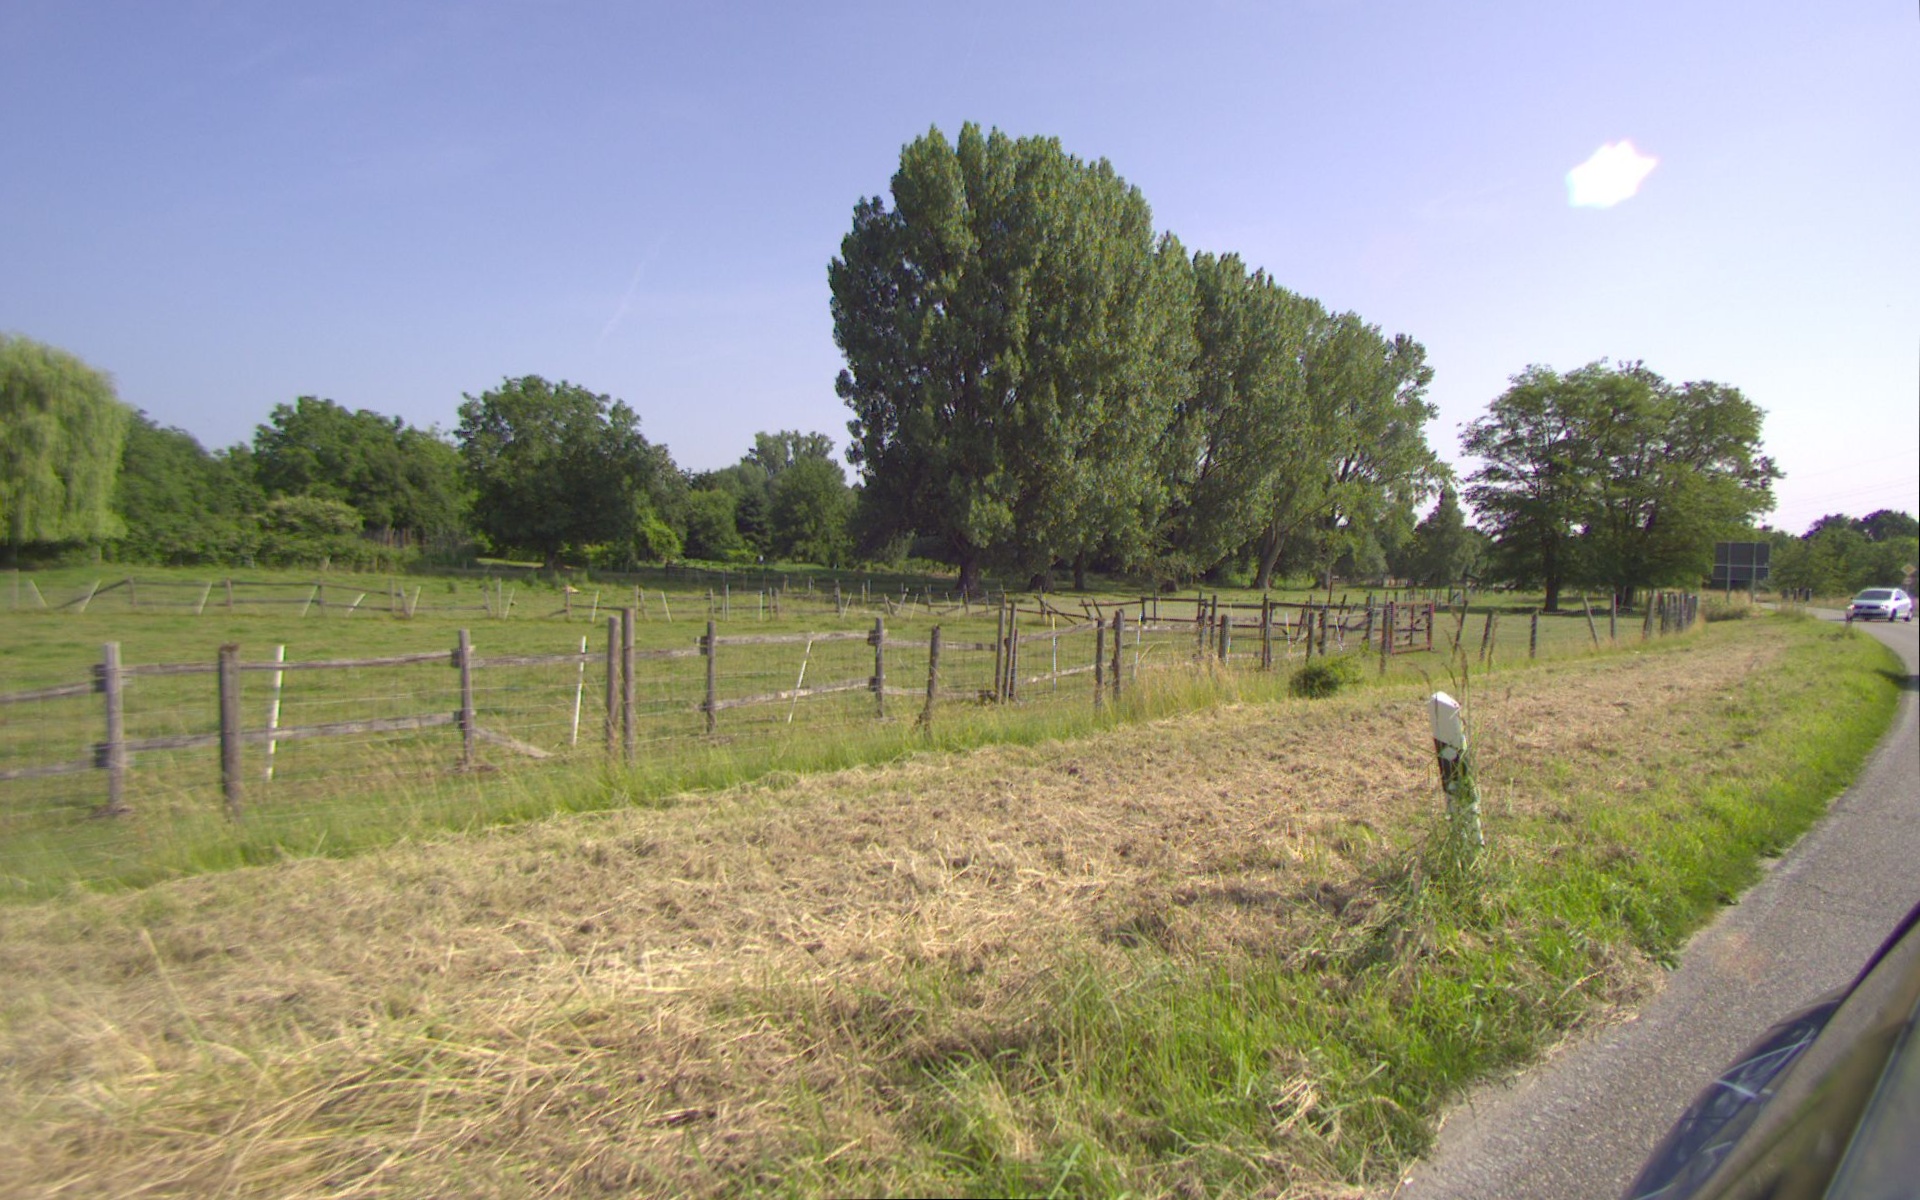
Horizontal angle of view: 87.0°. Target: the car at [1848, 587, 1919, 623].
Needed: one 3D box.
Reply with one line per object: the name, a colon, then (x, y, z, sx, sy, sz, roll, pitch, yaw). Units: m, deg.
car: (43.870, 0.207, 48.005, 3.839, 1.599, 1.998, 0, 1, -39)
